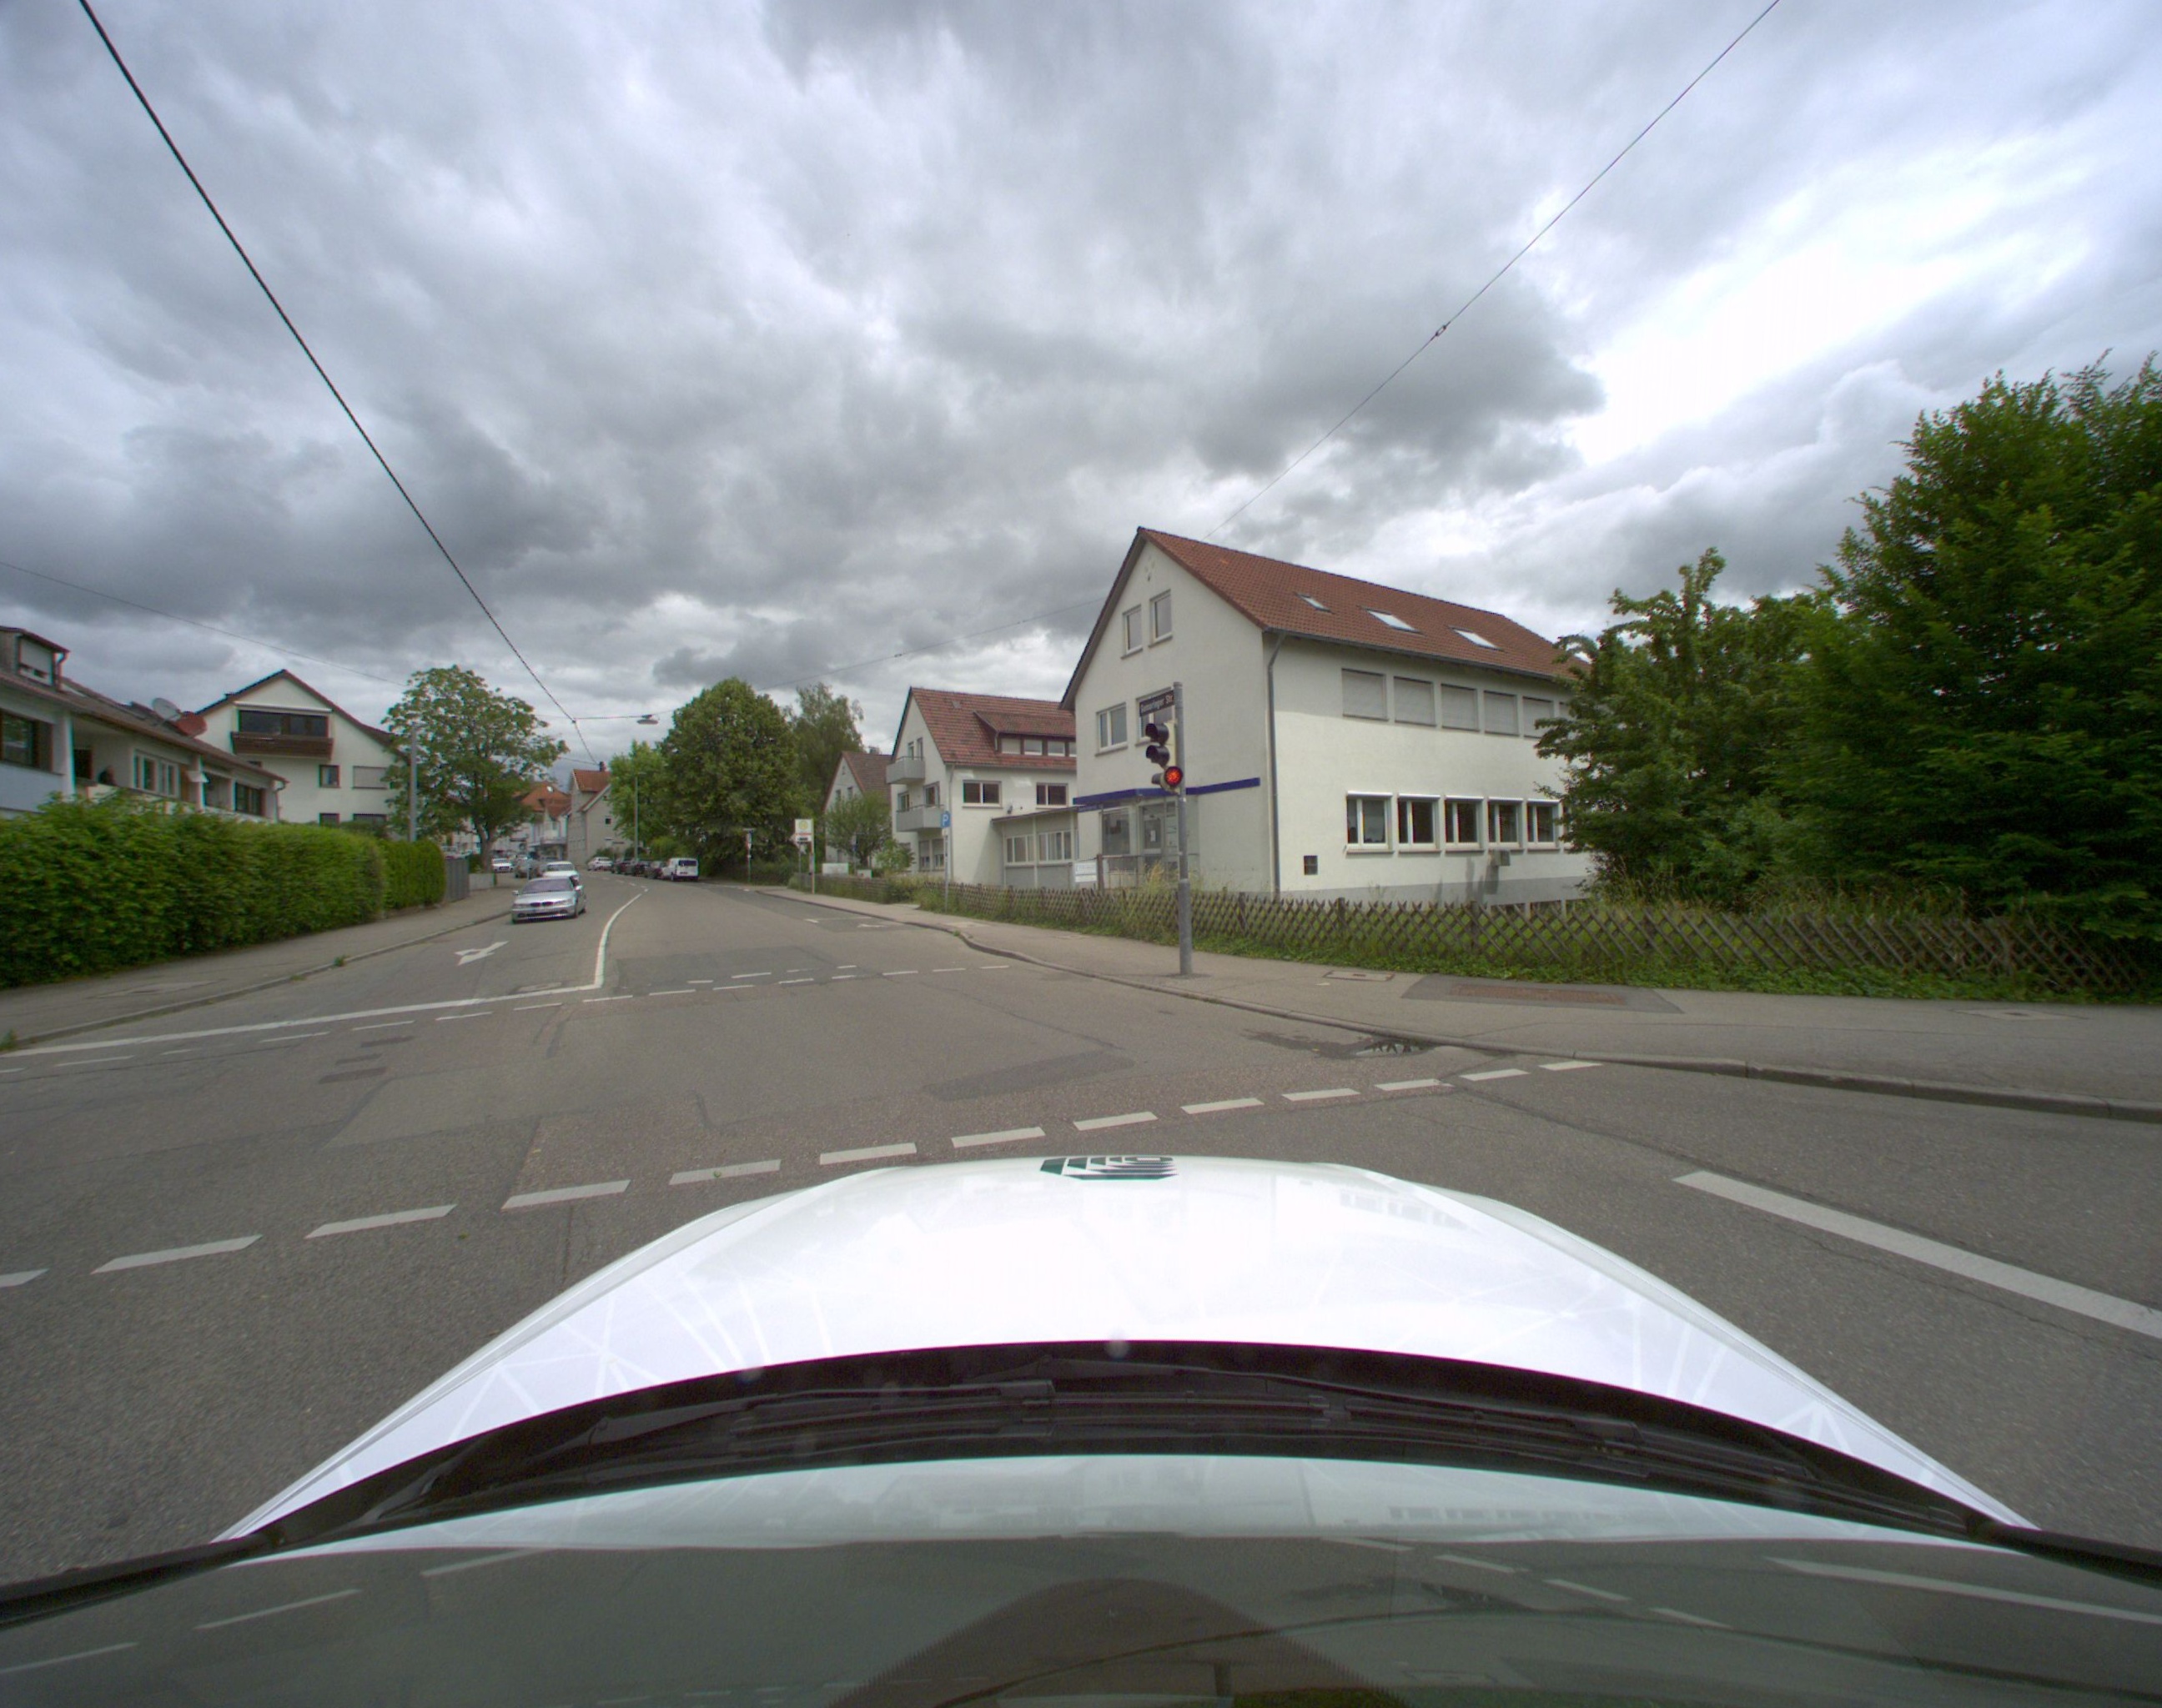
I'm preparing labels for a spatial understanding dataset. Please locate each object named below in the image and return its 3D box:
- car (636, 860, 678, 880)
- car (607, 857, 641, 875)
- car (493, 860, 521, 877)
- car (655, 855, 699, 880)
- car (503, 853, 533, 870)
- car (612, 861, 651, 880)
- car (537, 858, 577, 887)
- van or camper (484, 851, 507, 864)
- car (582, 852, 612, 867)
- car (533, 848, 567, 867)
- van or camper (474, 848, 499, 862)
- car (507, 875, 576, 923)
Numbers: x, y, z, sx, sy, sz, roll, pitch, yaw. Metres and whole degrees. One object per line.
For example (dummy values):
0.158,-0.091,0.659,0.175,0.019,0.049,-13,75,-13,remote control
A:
-34.715,1.281,66.687,2.011,1.478,4.565,0,0,-42,car
-42.749,1.082,76.193,1.826,1.615,4.485,2,-2,-42,car
-57.873,1.438,82.061,1.742,1.458,3.851,-5,3,-43,car
-30.986,1.057,62.383,1.854,1.774,4.265,3,-1,-43,car
-69.002,0.865,99.758,3.950,2.014,2.172,0,-1,43,car
-39.373,1.449,71.281,2.010,1.615,4.485,2,-2,-42,car
-32.878,1.118,51.038,1.864,1.714,4.525,-2,1,-36,car
-84.906,0.469,118.072,4.621,1.829,1.888,1,-2,43,van or camper
-50.211,0.564,84.491,1.957,1.439,3.952,1,0,-42,car
-57.886,0.363,88.703,3.950,2.014,2.172,0,-1,43,car
-90.298,0.186,123.729,5.870,2.066,2.011,1,-2,44,van or camper
-17.567,1.391,26.574,1.725,1.354,4.041,-2,0,-33,car
